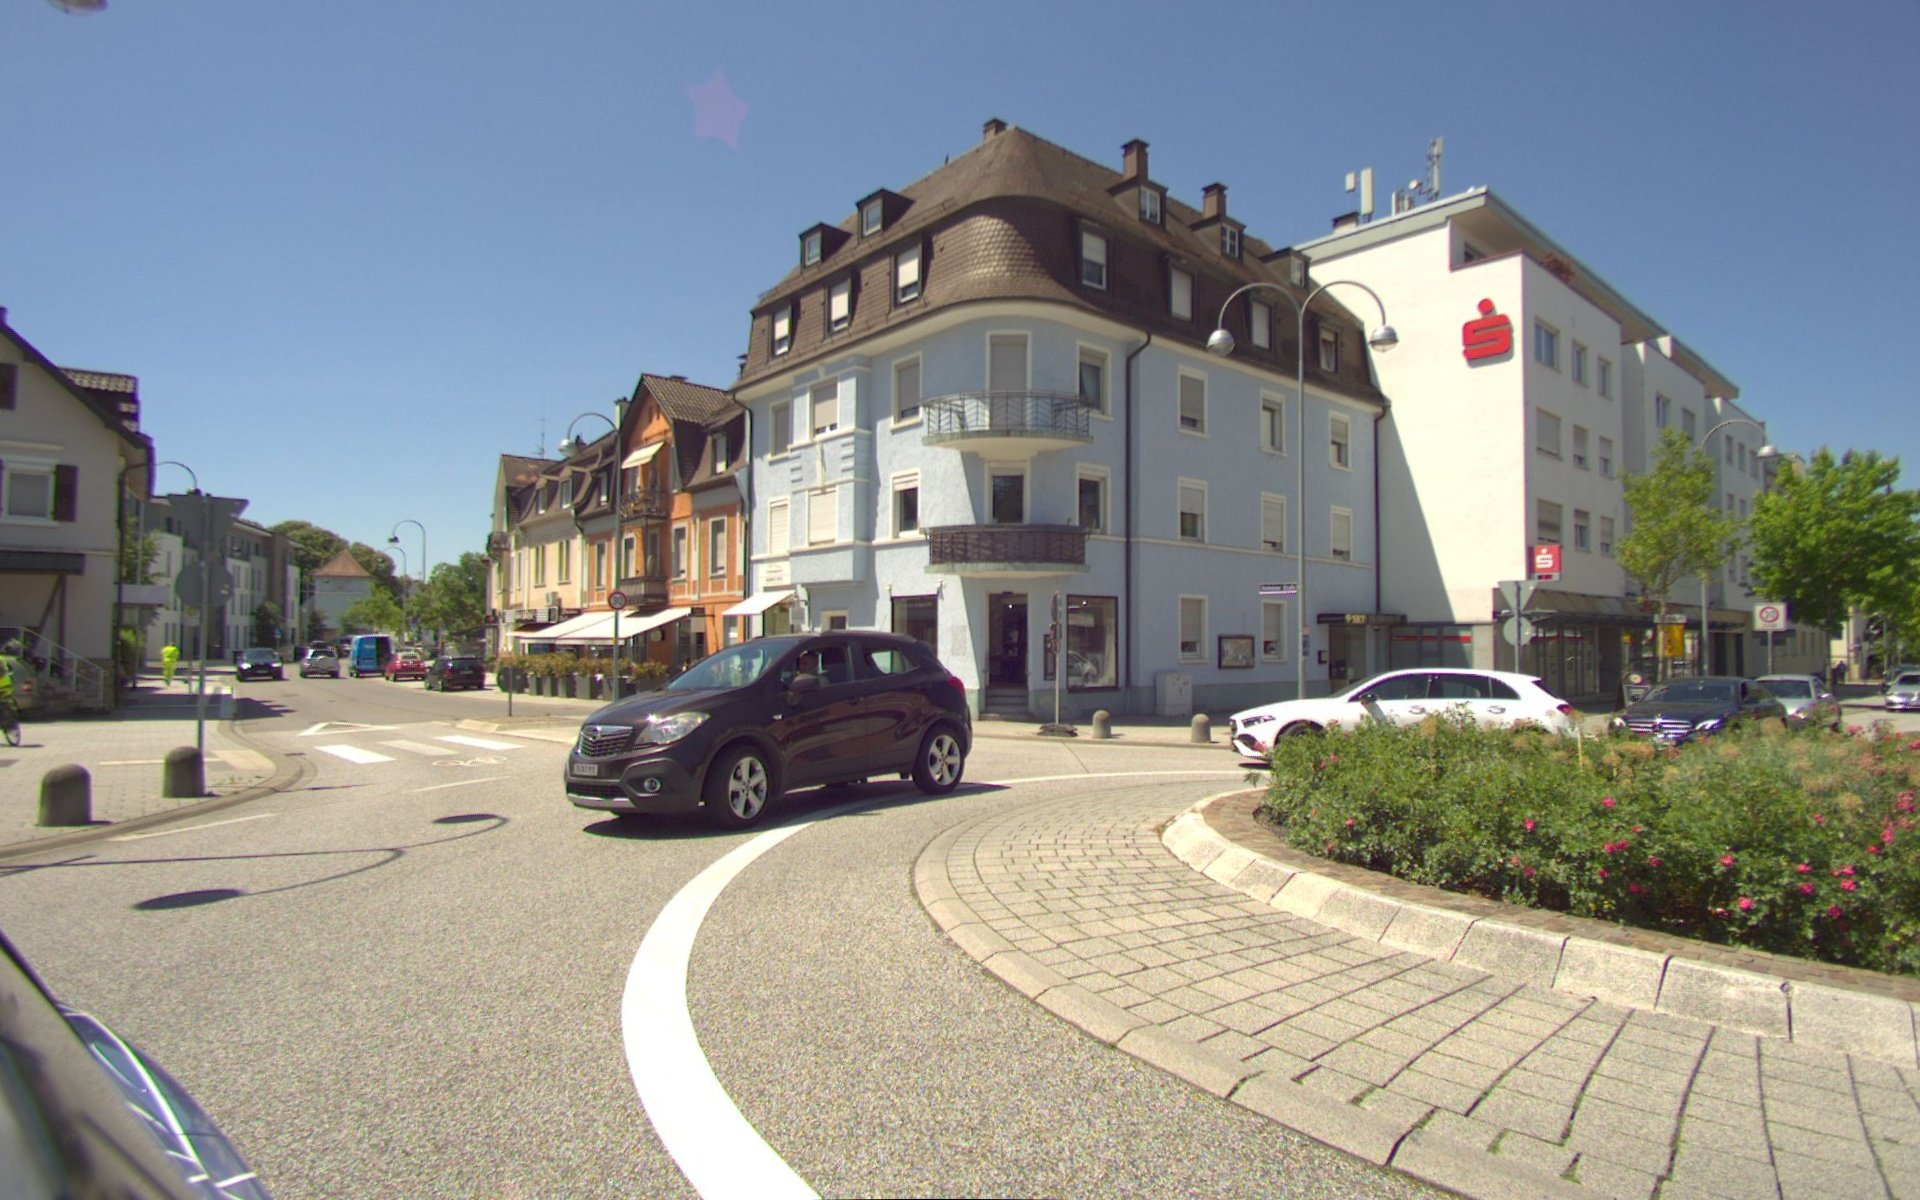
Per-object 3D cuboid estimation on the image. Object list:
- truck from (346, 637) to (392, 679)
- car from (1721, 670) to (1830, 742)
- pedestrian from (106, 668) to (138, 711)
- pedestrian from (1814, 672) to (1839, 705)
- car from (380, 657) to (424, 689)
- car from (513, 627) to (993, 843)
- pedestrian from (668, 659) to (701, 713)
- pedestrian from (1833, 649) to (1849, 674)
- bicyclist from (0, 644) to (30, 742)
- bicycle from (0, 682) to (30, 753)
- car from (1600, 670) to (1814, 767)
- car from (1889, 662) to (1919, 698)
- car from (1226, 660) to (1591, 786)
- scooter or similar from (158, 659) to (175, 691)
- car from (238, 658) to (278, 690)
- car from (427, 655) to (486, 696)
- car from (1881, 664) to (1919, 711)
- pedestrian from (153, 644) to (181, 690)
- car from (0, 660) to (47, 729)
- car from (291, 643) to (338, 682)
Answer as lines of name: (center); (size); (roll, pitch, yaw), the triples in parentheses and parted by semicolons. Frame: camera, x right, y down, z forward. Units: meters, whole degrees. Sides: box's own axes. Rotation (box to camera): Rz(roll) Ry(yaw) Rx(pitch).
truck: (-35.224, 3.408, 60.245); (1.929, 2.388, 4.347); (0, -2, -36)
car: (18.631, 2.357, 23.076); (1.704, 1.469, 3.737); (-4, -5, 41)
pedestrian: (-25.958, 2.760, 31.344); (0.675, 1.296, 0.581); (3, -4, -42)
pedestrian: (35.836, 3.655, 41.872); (0.655, 1.383, 0.571); (3, -5, -32)
car: (-29.875, 3.859, 54.140); (1.655, 1.558, 3.602); (0, -2, -36)
car: (-1.765, 1.114, 9.632); (1.999, 1.574, 4.109); (-4, -5, 41)
pedestrian: (-8.240, 2.555, 30.276); (0.619, 1.536, 0.804); (0, -2, -42)
pedestrian: (59.692, 4.162, 68.566); (0.655, 1.693, 0.625); (-4, -3, 31)
bicyclist: (-16.838, 1.594, 17.487); (1.060, 1.647, 0.801); (-2, -7, 34)
bicycle: (-17.035, 2.017, 17.569); (1.846, 1.165, 0.801); (-2, -6, 33)
car: (13.657, 2.050, 18.404); (4.634, 1.489, 2.003); (3, -5, -39)
car: (52.312, 4.370, 55.460); (4.326, 1.753, 1.736); (3, -1, -43)
car: (5.867, 1.621, 13.811); (4.252, 1.392, 1.921); (1, -6, 18)
scooter or similar: (-35.855, 3.366, 45.729); (0.519, 1.383, 1.350); (2, -3, -36)
car: (-37.871, 3.945, 54.628); (1.725, 1.558, 3.603); (0, -2, -34)
car: (-21.585, 3.195, 43.320); (1.655, 1.558, 3.955); (0, -2, -36)
car: (34.644, 3.097, 36.173); (4.921, 1.605, 2.003); (3, -4, -42)
pedestrian: (-35.908, 3.021, 45.820); (0.906, 2.045, 0.902); (2, -4, -36)
car: (-24.263, 2.218, 23.793); (3.935, 1.608, 1.798); (3, -5, -37)
car: (-37.354, 3.599, 58.507); (1.899, 2.124, 4.460); (4, -5, -36)
